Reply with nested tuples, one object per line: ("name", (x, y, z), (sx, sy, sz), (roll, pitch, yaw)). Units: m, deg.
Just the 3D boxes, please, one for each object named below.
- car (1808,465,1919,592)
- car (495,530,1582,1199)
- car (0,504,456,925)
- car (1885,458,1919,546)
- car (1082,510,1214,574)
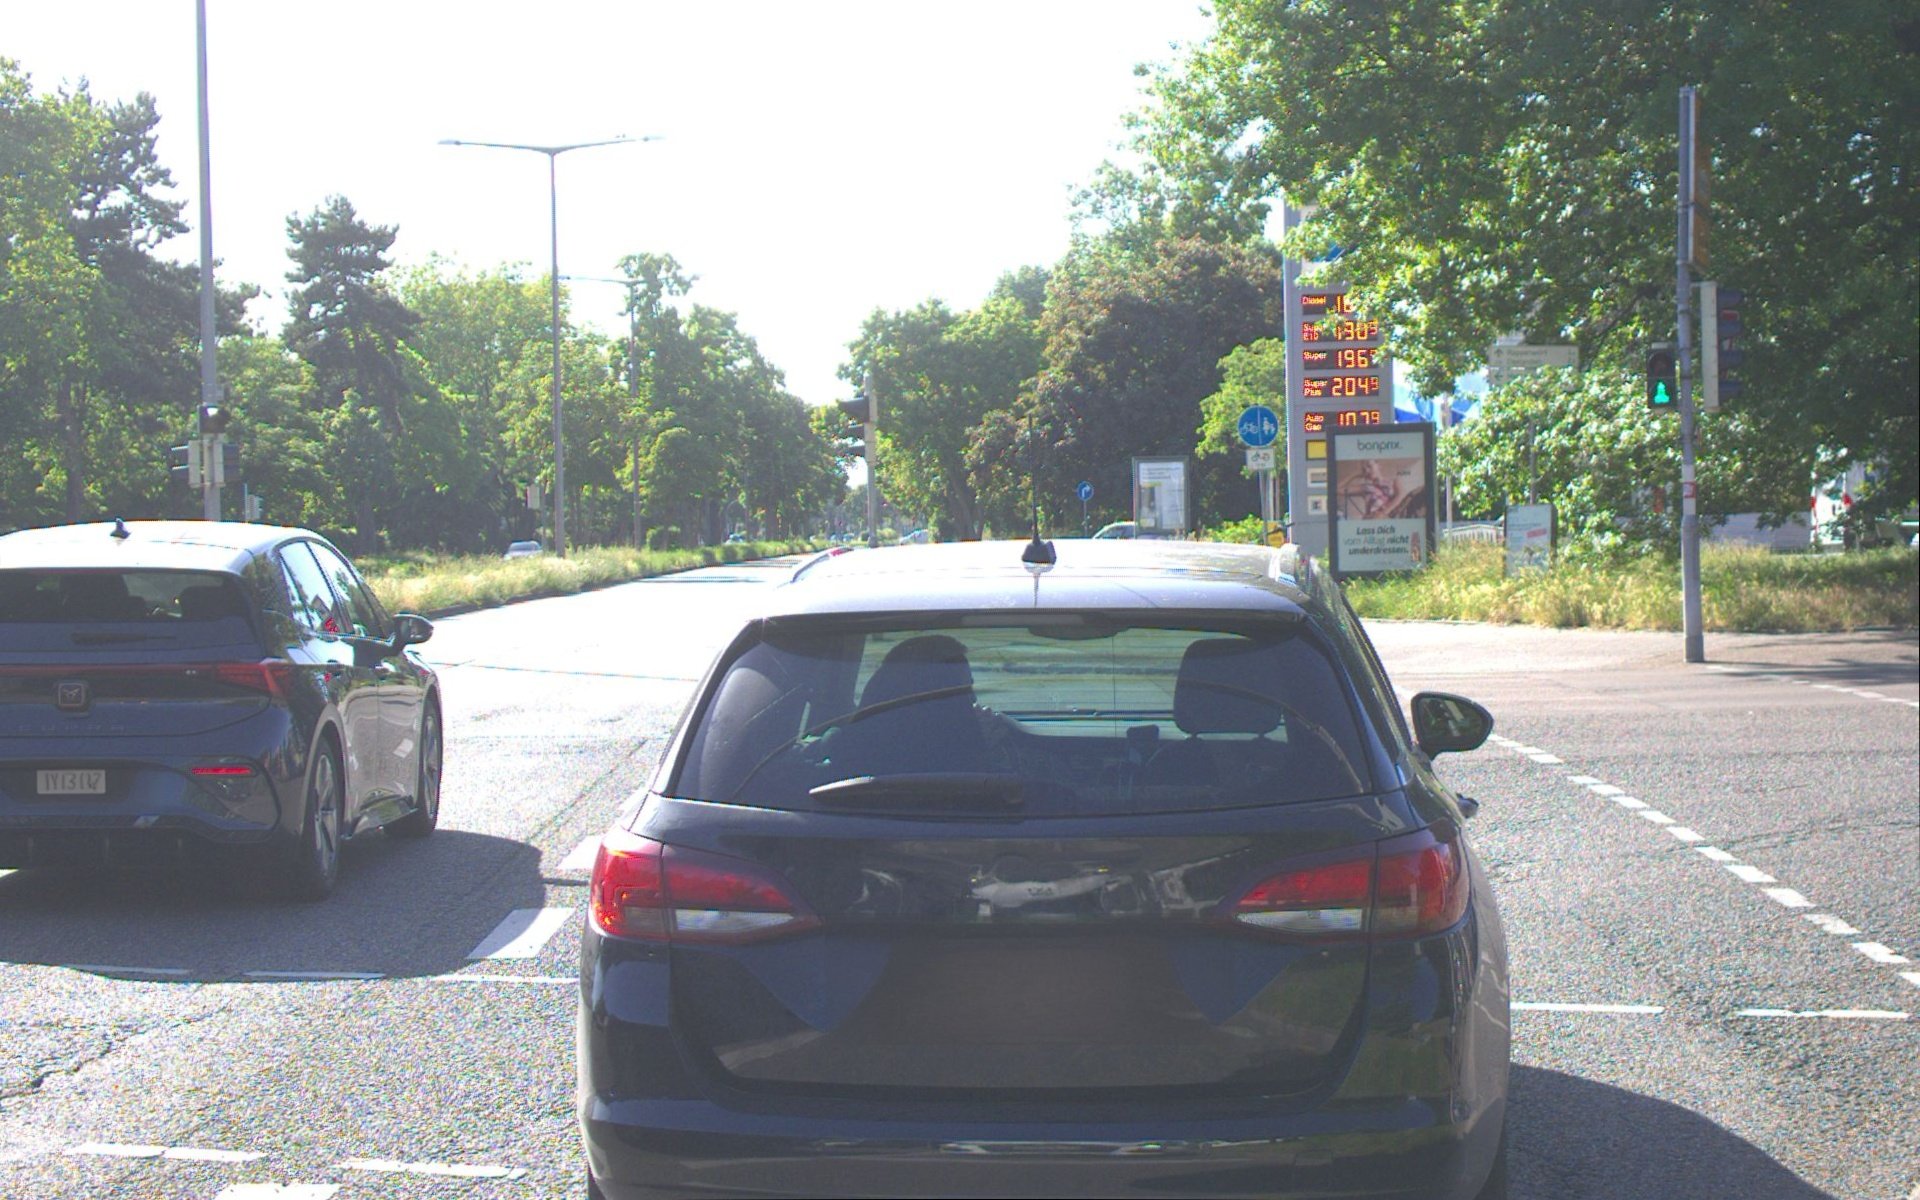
("car", (17.433, -1.183, 58.176), (5.635, 2.092, 2.000), (1, 1, -1))
("car", (0.172, 0.637, 7.769), (1.762, 1.486, 4.291), (-1, 2, 1))
("car", (-3.450, 0.395, 15.195), (1.836, 1.583, 4.365), (1, 1, -1))
("car", (16.449, -1.466, 52.686), (3.986, 1.330, 1.800), (1, 1, -11))
("car", (6.002, -1.880, 110.296), (1.994, 2.007, 3.998), (0, 1, -41))
